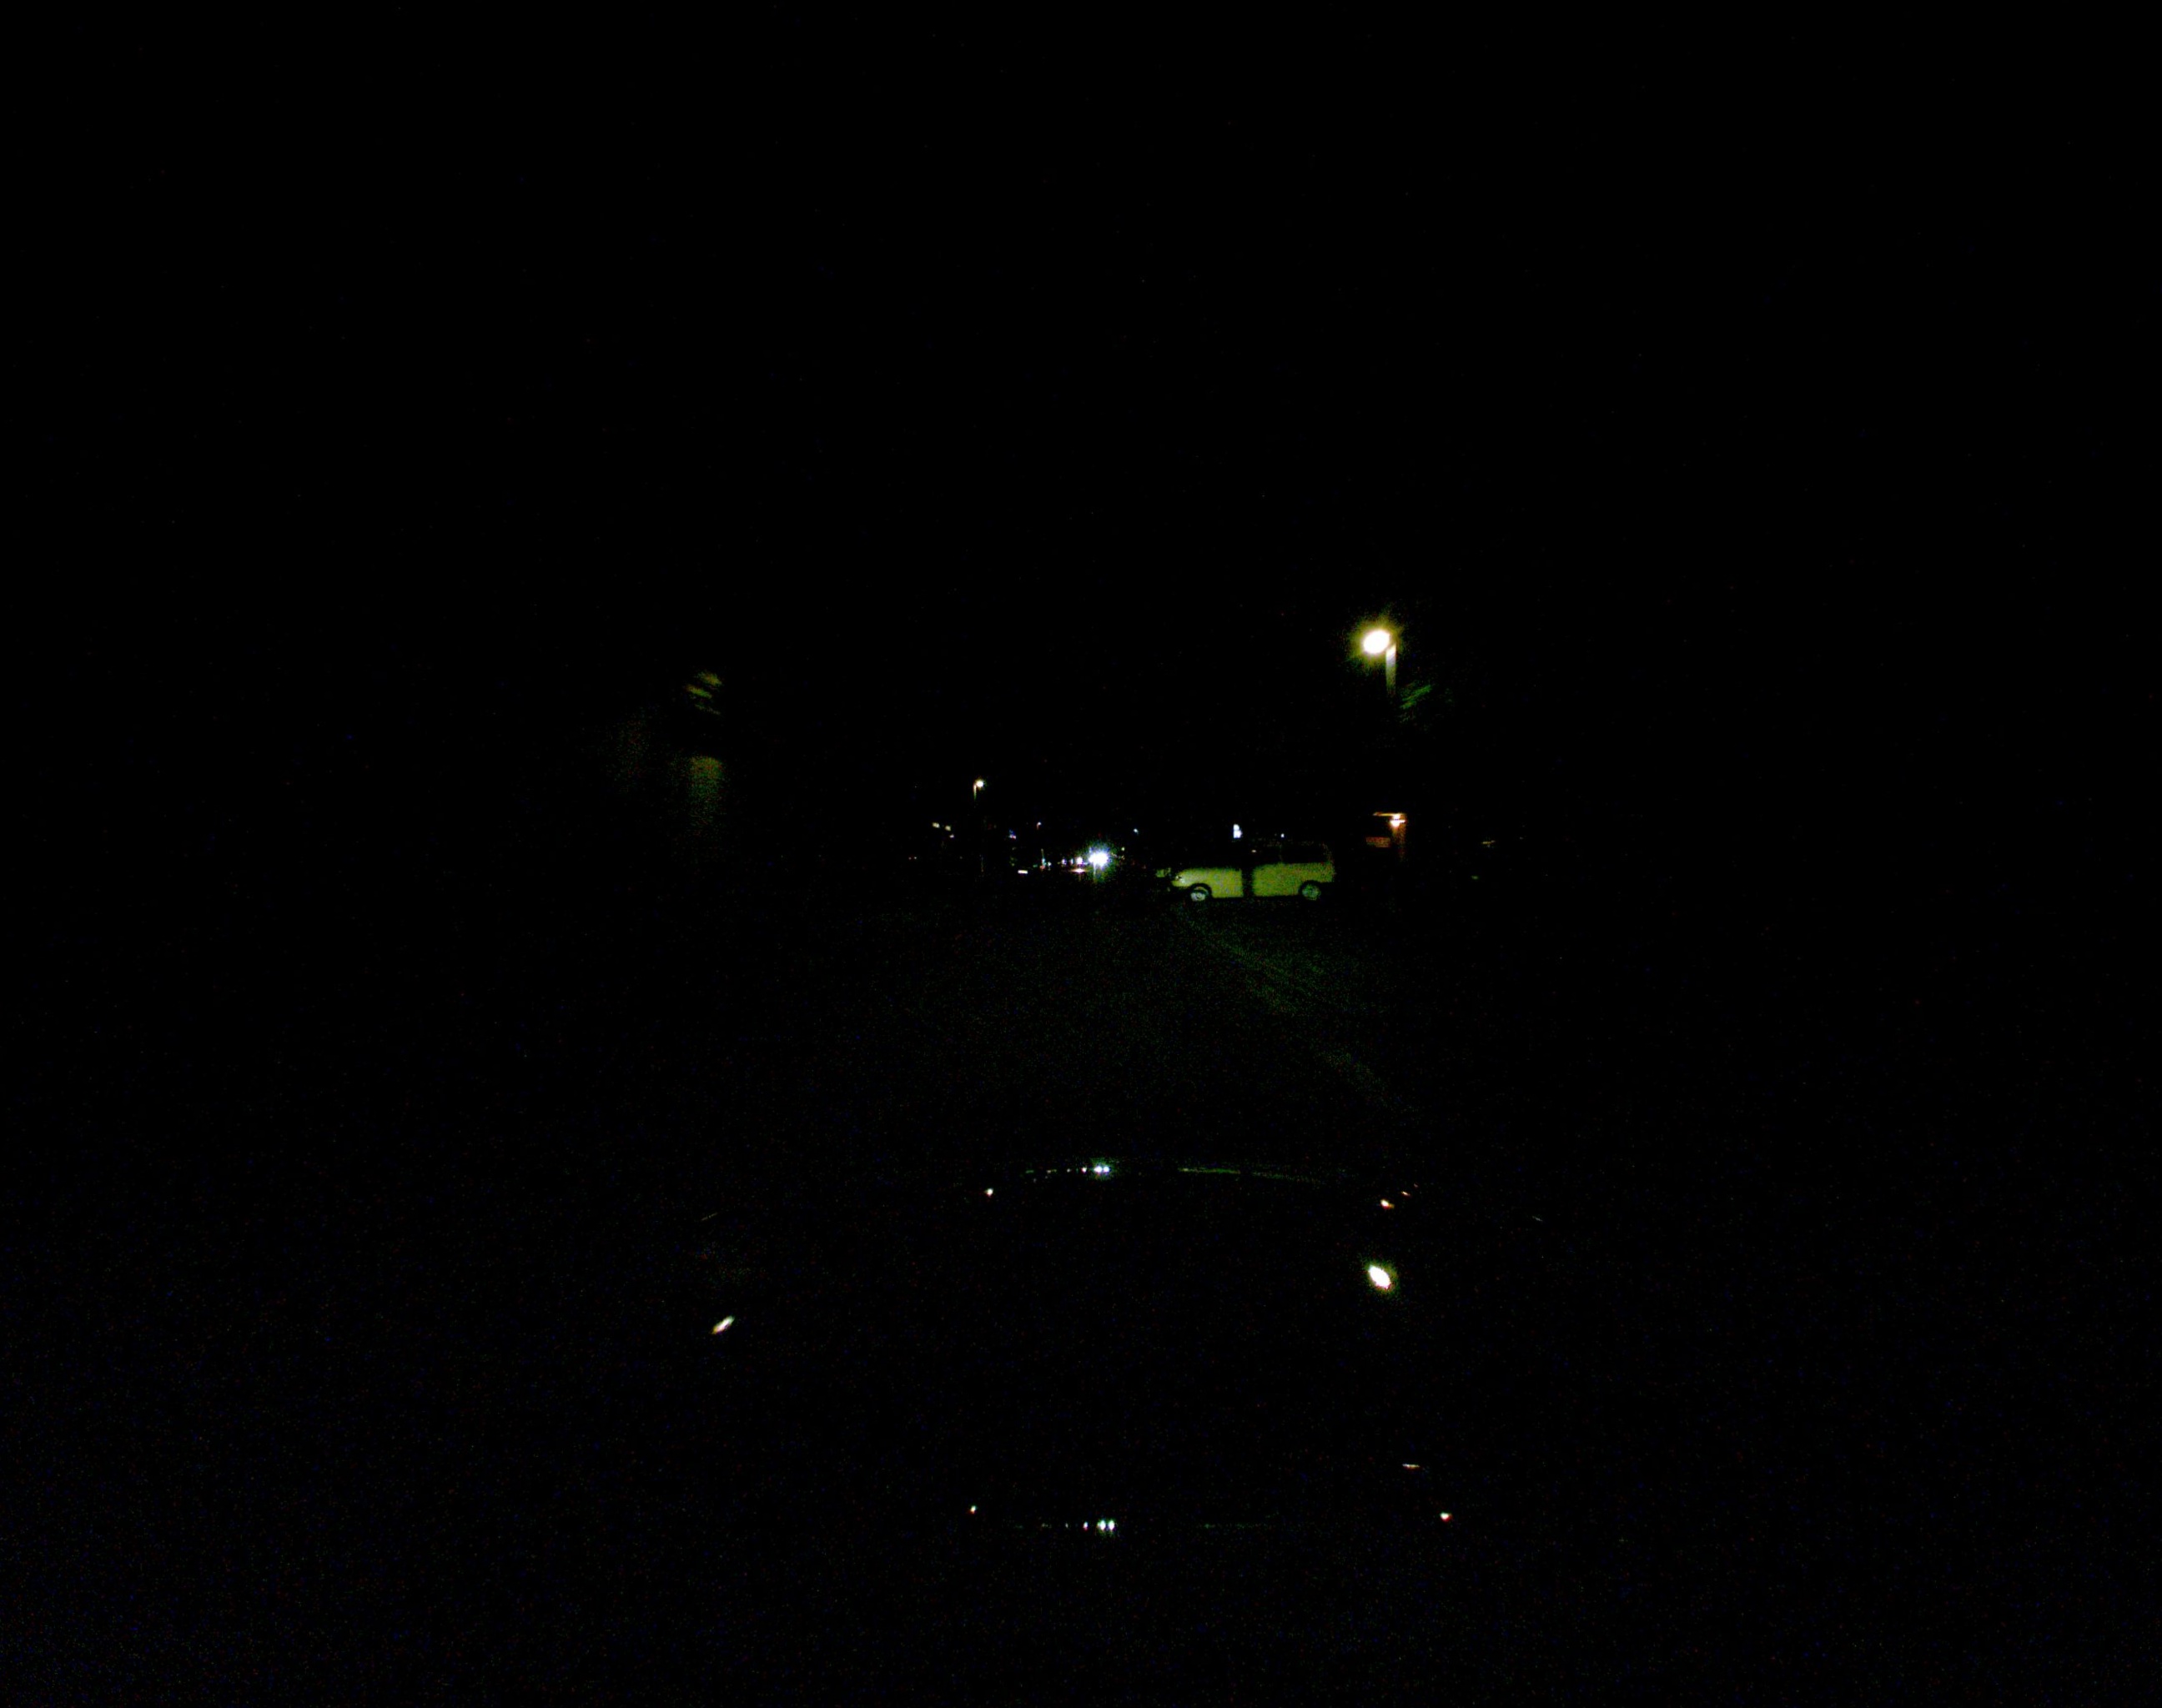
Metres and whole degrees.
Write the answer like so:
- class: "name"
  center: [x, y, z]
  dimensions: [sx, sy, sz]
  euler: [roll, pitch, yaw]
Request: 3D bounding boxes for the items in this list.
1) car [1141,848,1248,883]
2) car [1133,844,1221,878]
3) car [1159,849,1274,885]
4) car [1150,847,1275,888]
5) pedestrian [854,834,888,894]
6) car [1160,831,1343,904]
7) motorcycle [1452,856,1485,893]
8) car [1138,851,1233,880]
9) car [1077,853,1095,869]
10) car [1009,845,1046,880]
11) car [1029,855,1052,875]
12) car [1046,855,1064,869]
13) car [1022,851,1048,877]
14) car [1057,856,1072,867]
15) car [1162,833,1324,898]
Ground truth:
- class: "car"
  center: [5.738, 0.591, 41.577]
  dimensions: [5.165, 1.594, 2.101]
  euler: [-2, 0, 0]
- class: "car"
  center: [5.918, 0.424, 49.788]
  dimensions: [5.149, 1.887, 2.108]
  euler: [-2, 0, 10]
- class: "car"
  center: [6.421, 0.602, 39.010]
  dimensions: [5.165, 1.525, 2.101]
  euler: [-2, 0, 0]
- class: "car"
  center: [5.750, 0.576, 36.081]
  dimensions: [5.165, 1.594, 2.101]
  euler: [-2, 0, 0]
- class: "pedestrian"
  center: [-7.314, 0.346, 28.359]
  dimensions: [0.782, 2.013, 1.205]
  euler: [1, 0, 1]
- class: "car"
  center: [5.133, 0.403, 25.044]
  dimensions: [5.165, 2.013, 2.101]
  euler: [-2, 0, 0]
- class: "motorcycle"
  center: [14.666, 0.741, 30.841]
  dimensions: [1.060, 1.327, 2.722]
  euler: [0, 1, 25]
- class: "car"
  center: [5.985, 0.633, 47.090]
  dimensions: [5.165, 1.469, 2.101]
  euler: [-2, 0, 0]
- class: "car"
  center: [0.579, 0.787, 89.206]
  dimensions: [1.921, 1.648, 3.821]
  euler: [-1, 0, 0]
- class: "car"
  center: [-3.182, 0.483, 48.978]
  dimensions: [1.819, 1.986, 4.465]
  euler: [2, 0, 0]
- class: "car"
  center: [-3.026, 0.791, 60.894]
  dimensions: [1.529, 1.451, 3.119]
  euler: [0, 0, 0]
- class: "car"
  center: [-2.608, 0.774, 81.785]
  dimensions: [1.677, 1.331, 3.599]
  euler: [0, 0, 0]
- class: "car"
  center: [-3.161, 0.666, 55.860]
  dimensions: [1.529, 1.688, 3.212]
  euler: [2, 0, 0]
- class: "car"
  center: [-1.985, 0.862, 97.792]
  dimensions: [1.677, 1.331, 3.599]
  euler: [0, 0, 0]
- class: "car"
  center: [5.493, 0.367, 28.103]
  dimensions: [5.165, 2.013, 2.101]
  euler: [-2, 0, 0]
